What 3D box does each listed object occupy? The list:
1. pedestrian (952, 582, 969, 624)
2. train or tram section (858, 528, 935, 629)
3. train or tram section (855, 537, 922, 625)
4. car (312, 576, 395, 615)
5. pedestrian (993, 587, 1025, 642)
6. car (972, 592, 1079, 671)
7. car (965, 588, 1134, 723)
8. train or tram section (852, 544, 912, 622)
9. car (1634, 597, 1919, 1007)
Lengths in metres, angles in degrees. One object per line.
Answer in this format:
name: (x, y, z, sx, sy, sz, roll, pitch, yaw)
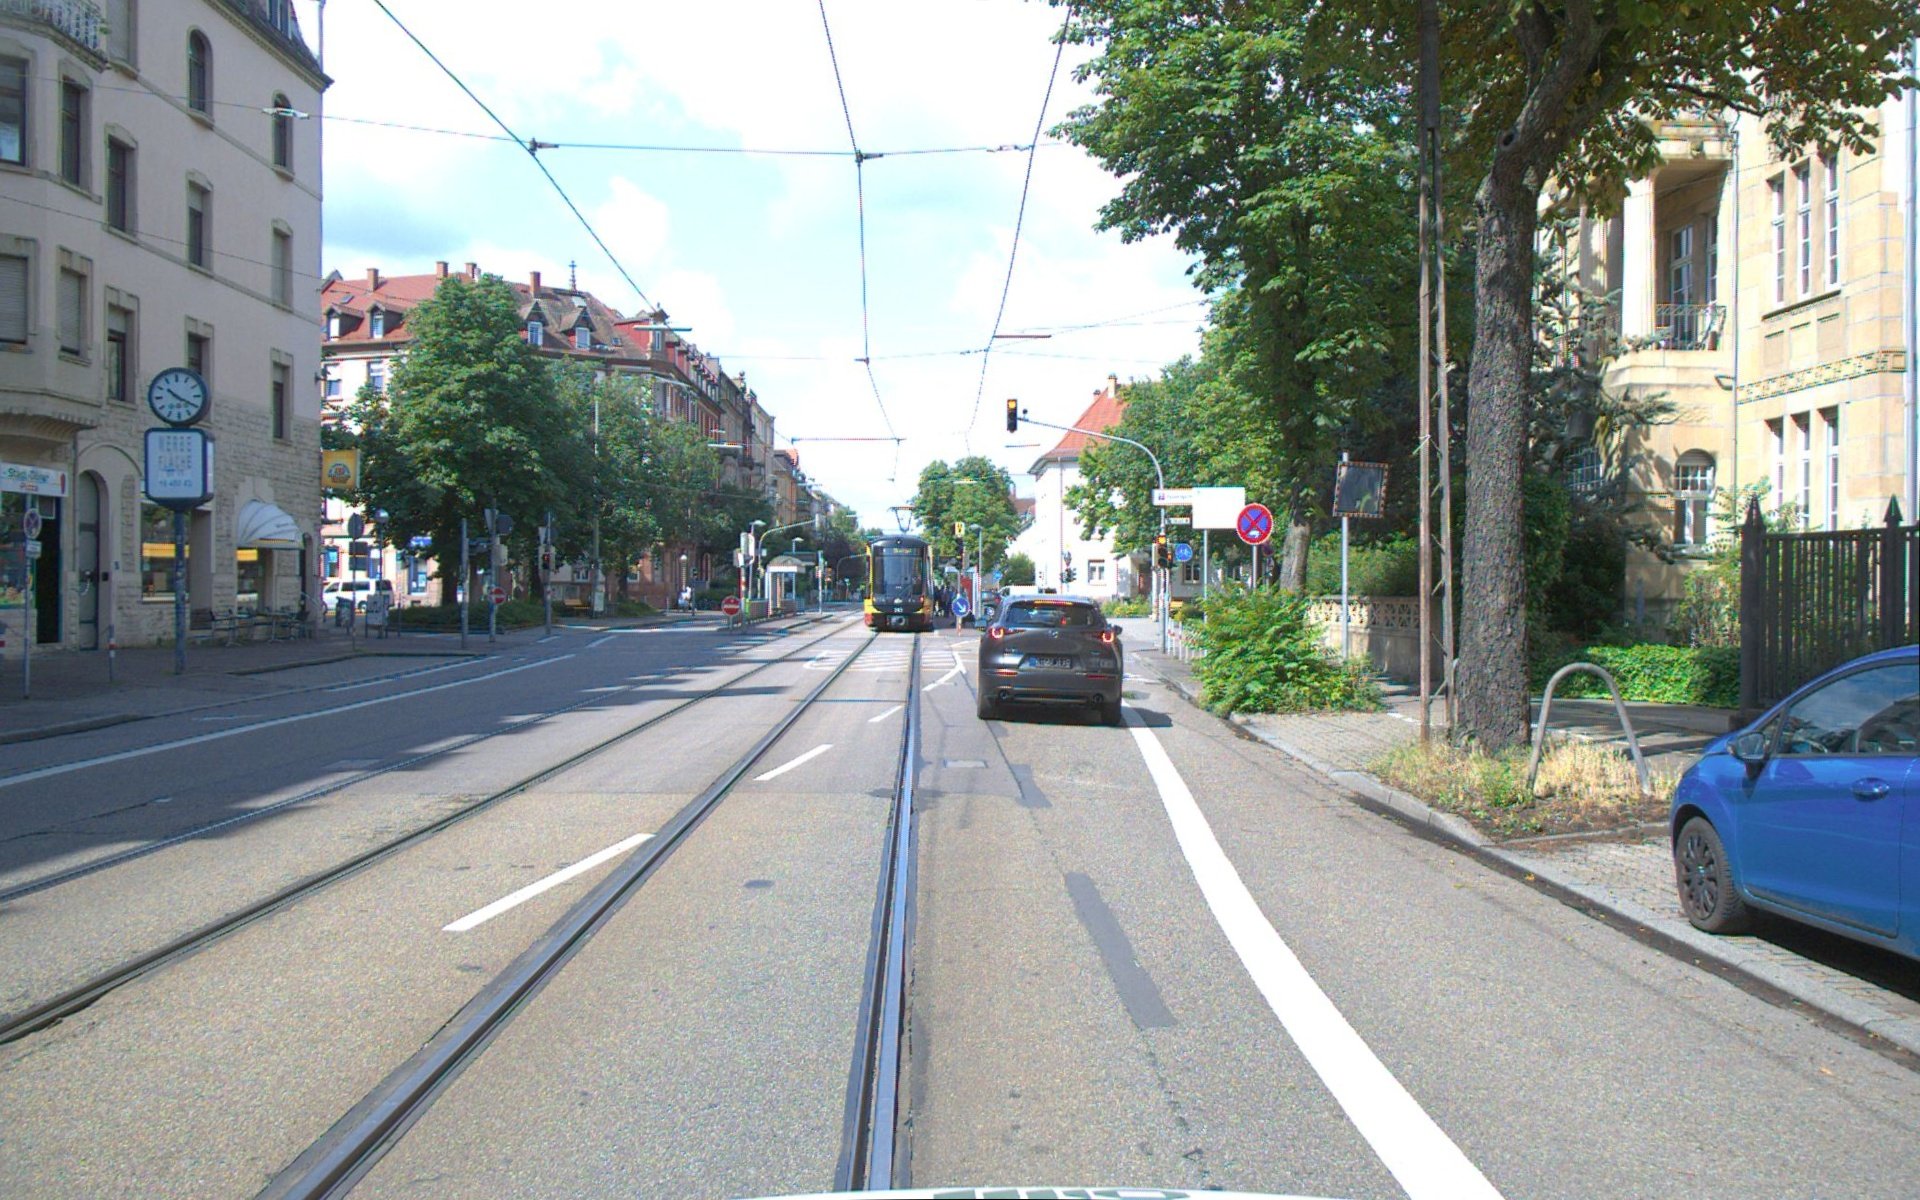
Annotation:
pedestrian: (0.019, 0.117, 65.534, 0.654, 1.633, 0.699, 0, 0, -3)
train or tram section: (-2.533, -0.783, 63.675, 2.600, 3.589, 8.488, -1, 0, -5)
train or tram section: (-3.198, -0.786, 72.172, 2.600, 3.589, 8.488, -1, 0, -5)
car: (-35.471, -0.256, 96.803, 4.032, 2.048, 2.002, -3, 0, 8)
pedestrian: (1.458, 0.430, 49.075, 0.858, 1.633, 0.631, 0, 0, -6)
car: (1.304, 0.600, 34.906, 1.750, 1.518, 4.879, 0, 1, -4)
car: (1.058, 0.637, 21.540, 1.754, 1.538, 4.348, 1, 0, -3)
train or tram section: (-3.868, -0.776, 80.628, 2.600, 3.589, 8.488, -1, 0, -5)
car: (4.471, 0.783, 6.942, 1.591, 1.522, 3.846, -2, 0, -2)
